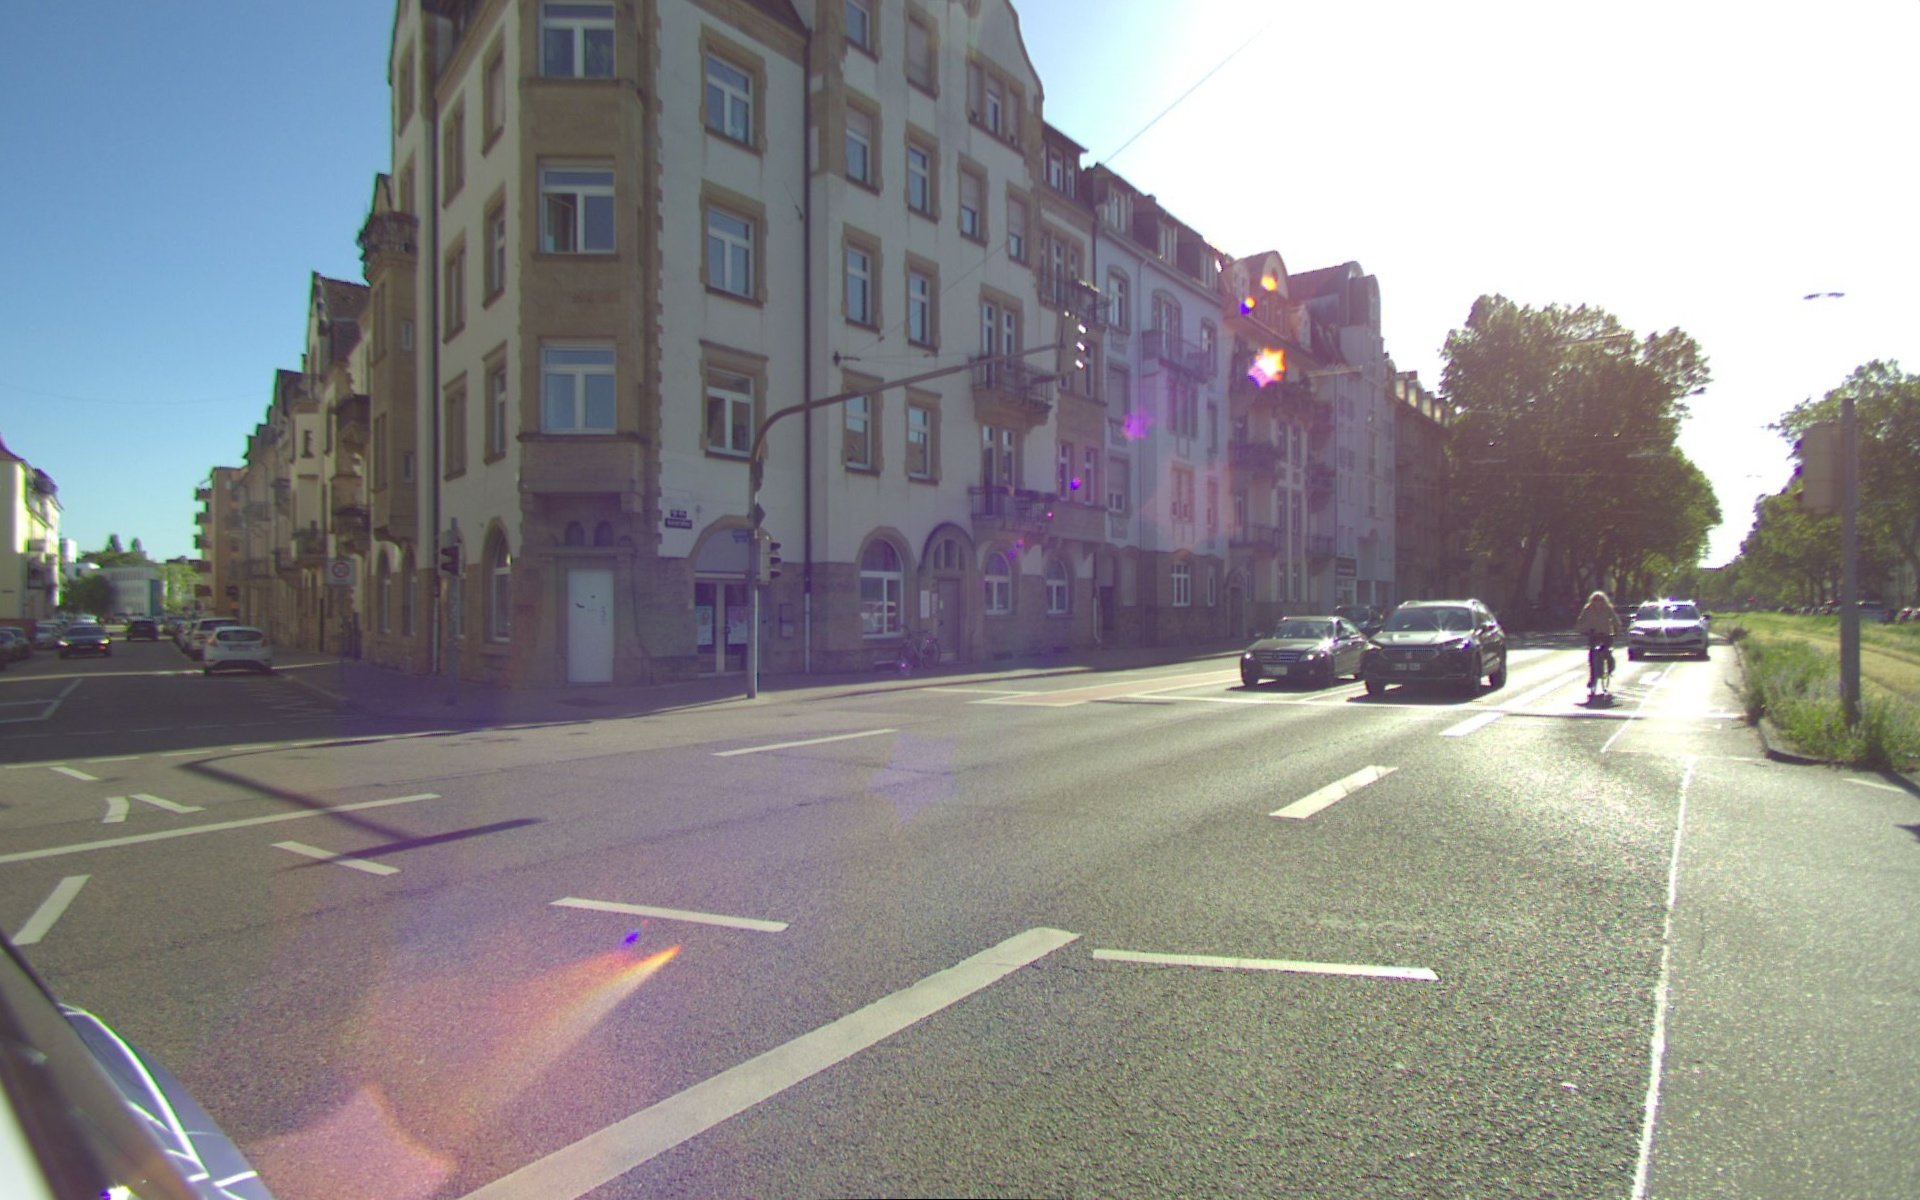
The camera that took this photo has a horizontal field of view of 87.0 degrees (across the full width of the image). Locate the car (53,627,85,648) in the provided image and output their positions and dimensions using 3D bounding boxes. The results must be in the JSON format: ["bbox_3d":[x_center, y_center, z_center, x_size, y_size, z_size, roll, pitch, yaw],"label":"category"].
[{"bbox_3d":[-80.069,3.335,90.955,1.849,1.679,4.008,-2,1,-38],"label":"car"}]

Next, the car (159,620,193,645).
[{"bbox_3d":[-58.483,2.405,75.473,1.888,1.636,4.355,-4,2,-38],"label":"car"}]

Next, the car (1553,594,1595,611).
[{"bbox_3d":[69.687,0.271,114.860,3.784,1.718,1.832,-2,1,23],"label":"car"}]

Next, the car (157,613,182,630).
[{"bbox_3d":[-82.903,2.256,106.098,1.889,1.636,4.354,-4,2,-40],"label":"car"}]

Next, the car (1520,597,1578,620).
[{"bbox_3d":[49.536,0.728,85.178,3.753,1.718,1.847,-2,1,-2],"label":"car"}]

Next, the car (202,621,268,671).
[{"bbox_3d":[-22.222,1.391,30.984,1.532,1.422,3.579,3,-3,-37],"label":"car"}]

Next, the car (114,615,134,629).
[{"bbox_3d":[-108.524,2.871,131.422,1.849,1.679,4.008,-2,1,-38],"label":"car"}]

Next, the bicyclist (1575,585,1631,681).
[{"bbox_3d":[10.808,0.538,17.002,0.686,1.554,1.061,-1,-1,39],"label":"bicyclist"}]

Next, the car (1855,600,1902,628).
[{"bbox_3d":[62.870,0.930,69.304,1.982,1.850,4.063,0,-1,37],"label":"car"}]

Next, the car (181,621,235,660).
[{"bbox_3d":[-35.222,1.850,47.377,1.888,1.529,4.355,-4,2,-38],"label":"car"}]

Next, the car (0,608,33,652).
[{"bbox_3d":[-46.517,1.466,49.221,1.805,2.050,3.827,-3,0,-39],"label":"car"}]

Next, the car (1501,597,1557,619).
[{"bbox_3d":[49.210,0.711,87.613,3.753,1.718,1.847,-2,1,-2],"label":"car"}]

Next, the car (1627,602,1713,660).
[{"bbox_3d":[20.234,0.839,28.771,1.764,1.541,3.968,-1,-1,39],"label":"car"}]

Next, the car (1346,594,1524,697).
[{"bbox_3d":[8.794,0.772,18.556,1.998,1.657,4.185,-3,-2,39],"label":"car"}]

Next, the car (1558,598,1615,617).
[{"bbox_3d":[63.460,0.794,102.499,4.528,1.718,1.846,-2,1,0],"label":"car"}]

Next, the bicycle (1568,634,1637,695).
[{"bbox_3d":[10.794,1.048,16.974,0.794,0.932,1.616,-1,-1,39],"label":"bicycle"}]

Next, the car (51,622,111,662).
[{"bbox_3d":[-40.598,1.908,46.820,1.849,1.679,4.008,-2,1,-38],"label":"car"}]

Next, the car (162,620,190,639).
[{"bbox_3d":[-75.980,2.827,98.065,1.889,1.636,4.354,-4,2,-40],"label":"car"}]

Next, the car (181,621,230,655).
[{"bbox_3d":[-38.816,1.917,52.019,1.888,1.529,4.355,-4,2,-38],"label":"car"}]

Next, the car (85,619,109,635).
[{"bbox_3d":[-101.237,3.179,118.752,1.849,1.679,4.008,-2,1,-38],"label":"car"}]

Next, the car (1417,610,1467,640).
[{"bbox_3d":[26.298,1.352,55.187,1.641,1.600,3.358,-2,-2,39],"label":"car"}]

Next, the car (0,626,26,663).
[{"bbox_3d":[-43.623,2.026,45.777,1.806,1.608,3.825,-3,0,-40],"label":"car"}]

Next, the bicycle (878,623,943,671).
[{"bbox_3d":[-1.227,1.152,25.410,0.609,1.142,1.788,-1,-1,37],"label":"bicycle"}]

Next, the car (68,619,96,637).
[{"bbox_3d":[-86.789,2.777,100.069,1.849,1.679,4.008,-2,1,-38],"label":"car"}]

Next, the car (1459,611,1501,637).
[{"bbox_3d":[33.035,1.534,64.252,1.641,1.600,3.358,-2,-2,39],"label":"car"}]

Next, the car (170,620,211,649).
[{"bbox_3d":[-47.640,2.095,62.646,1.888,1.529,4.355,-4,2,-38],"label":"car"}]

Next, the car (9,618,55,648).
[{"bbox_3d":[-54.298,1.920,59.276,1.806,1.608,3.825,-3,0,-40],"label":"car"}]

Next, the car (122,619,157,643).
[{"bbox_3d":[-61.821,2.333,76.301,1.887,1.741,4.356,1,-2,-37],"label":"car"}]

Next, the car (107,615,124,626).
[{"bbox_3d":[-131.557,3.220,157.650,1.849,1.679,4.008,-2,1,-38],"label":"car"}]

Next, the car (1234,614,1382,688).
[{"bbox_3d":[7.426,1.005,21.383,1.764,1.400,3.846,-2,-1,39],"label":"car"}]

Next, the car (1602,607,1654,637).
[{"bbox_3d":[37.304,1.207,56.480,1.724,1.564,3.942,-1,-1,44],"label":"car"}]

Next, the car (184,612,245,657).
[{"bbox_3d":[-31.436,1.410,42.633,1.888,1.671,4.355,-4,2,-38],"label":"car"}]
